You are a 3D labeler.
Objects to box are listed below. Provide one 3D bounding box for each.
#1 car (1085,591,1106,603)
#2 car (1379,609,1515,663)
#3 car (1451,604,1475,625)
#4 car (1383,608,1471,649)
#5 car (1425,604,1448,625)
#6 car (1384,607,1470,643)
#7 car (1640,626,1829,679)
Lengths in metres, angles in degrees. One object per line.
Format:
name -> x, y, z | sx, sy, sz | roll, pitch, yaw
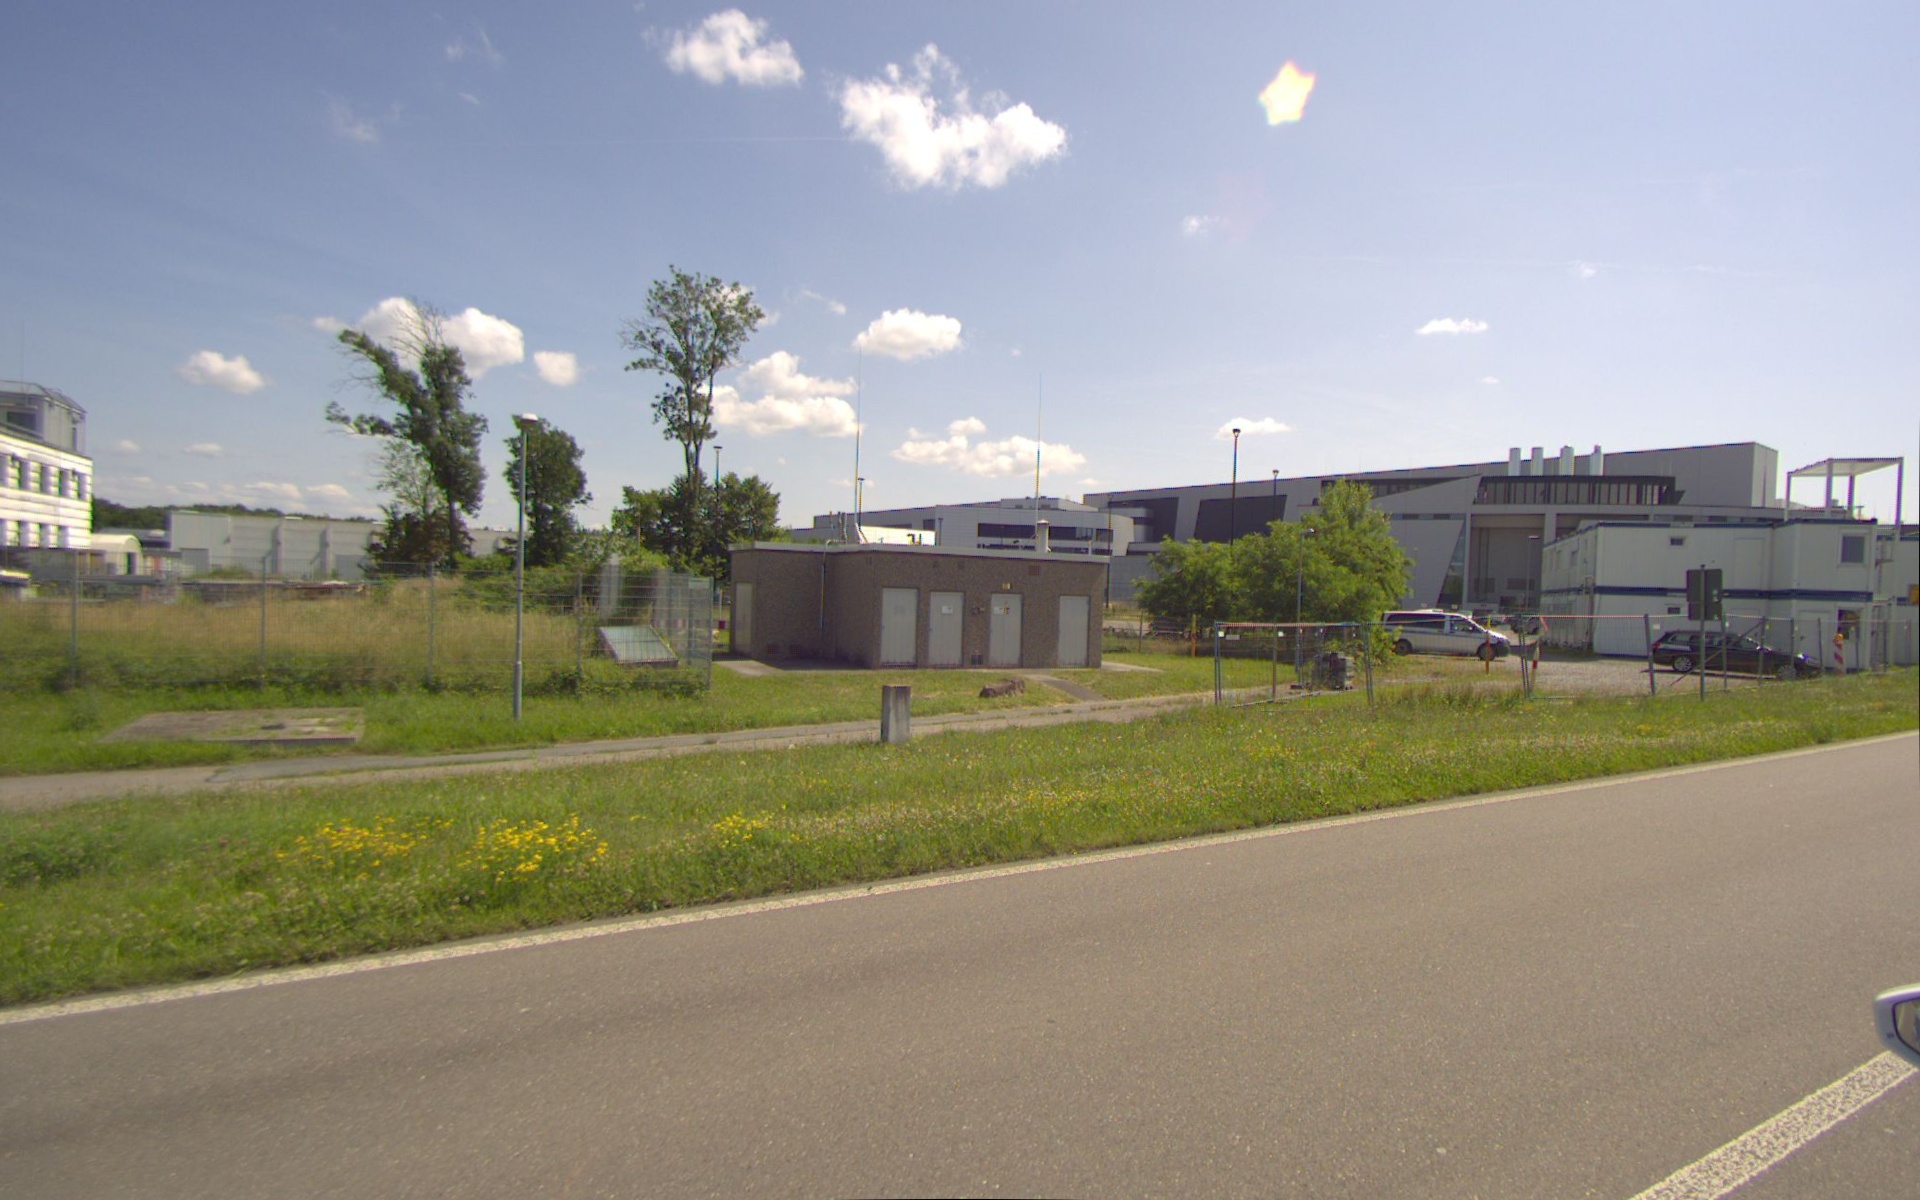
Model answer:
car -> 21.453, -0.452, 158.723 | 1.963, 1.892, 4.309 | 2, 1, 26
car -> 20.218, 1.455, 41.957 | 4.925, 1.892, 1.999 | 2, 1, 23
car -> 48.707, 1.421, 97.389 | 1.963, 1.892, 4.309 | 2, 1, 26
car -> 25.466, 1.539, 54.930 | 4.231, 1.974, 1.999 | 2, 1, 23
car -> 46.637, 1.391, 98.245 | 1.963, 1.892, 4.309 | 2, 1, 26
car -> 27.725, 1.489, 59.717 | 4.226, 1.892, 2.001 | 2, 1, 12
car -> 26.333, 1.735, 34.256 | 4.915, 1.436, 1.988 | 2, 1, 43
